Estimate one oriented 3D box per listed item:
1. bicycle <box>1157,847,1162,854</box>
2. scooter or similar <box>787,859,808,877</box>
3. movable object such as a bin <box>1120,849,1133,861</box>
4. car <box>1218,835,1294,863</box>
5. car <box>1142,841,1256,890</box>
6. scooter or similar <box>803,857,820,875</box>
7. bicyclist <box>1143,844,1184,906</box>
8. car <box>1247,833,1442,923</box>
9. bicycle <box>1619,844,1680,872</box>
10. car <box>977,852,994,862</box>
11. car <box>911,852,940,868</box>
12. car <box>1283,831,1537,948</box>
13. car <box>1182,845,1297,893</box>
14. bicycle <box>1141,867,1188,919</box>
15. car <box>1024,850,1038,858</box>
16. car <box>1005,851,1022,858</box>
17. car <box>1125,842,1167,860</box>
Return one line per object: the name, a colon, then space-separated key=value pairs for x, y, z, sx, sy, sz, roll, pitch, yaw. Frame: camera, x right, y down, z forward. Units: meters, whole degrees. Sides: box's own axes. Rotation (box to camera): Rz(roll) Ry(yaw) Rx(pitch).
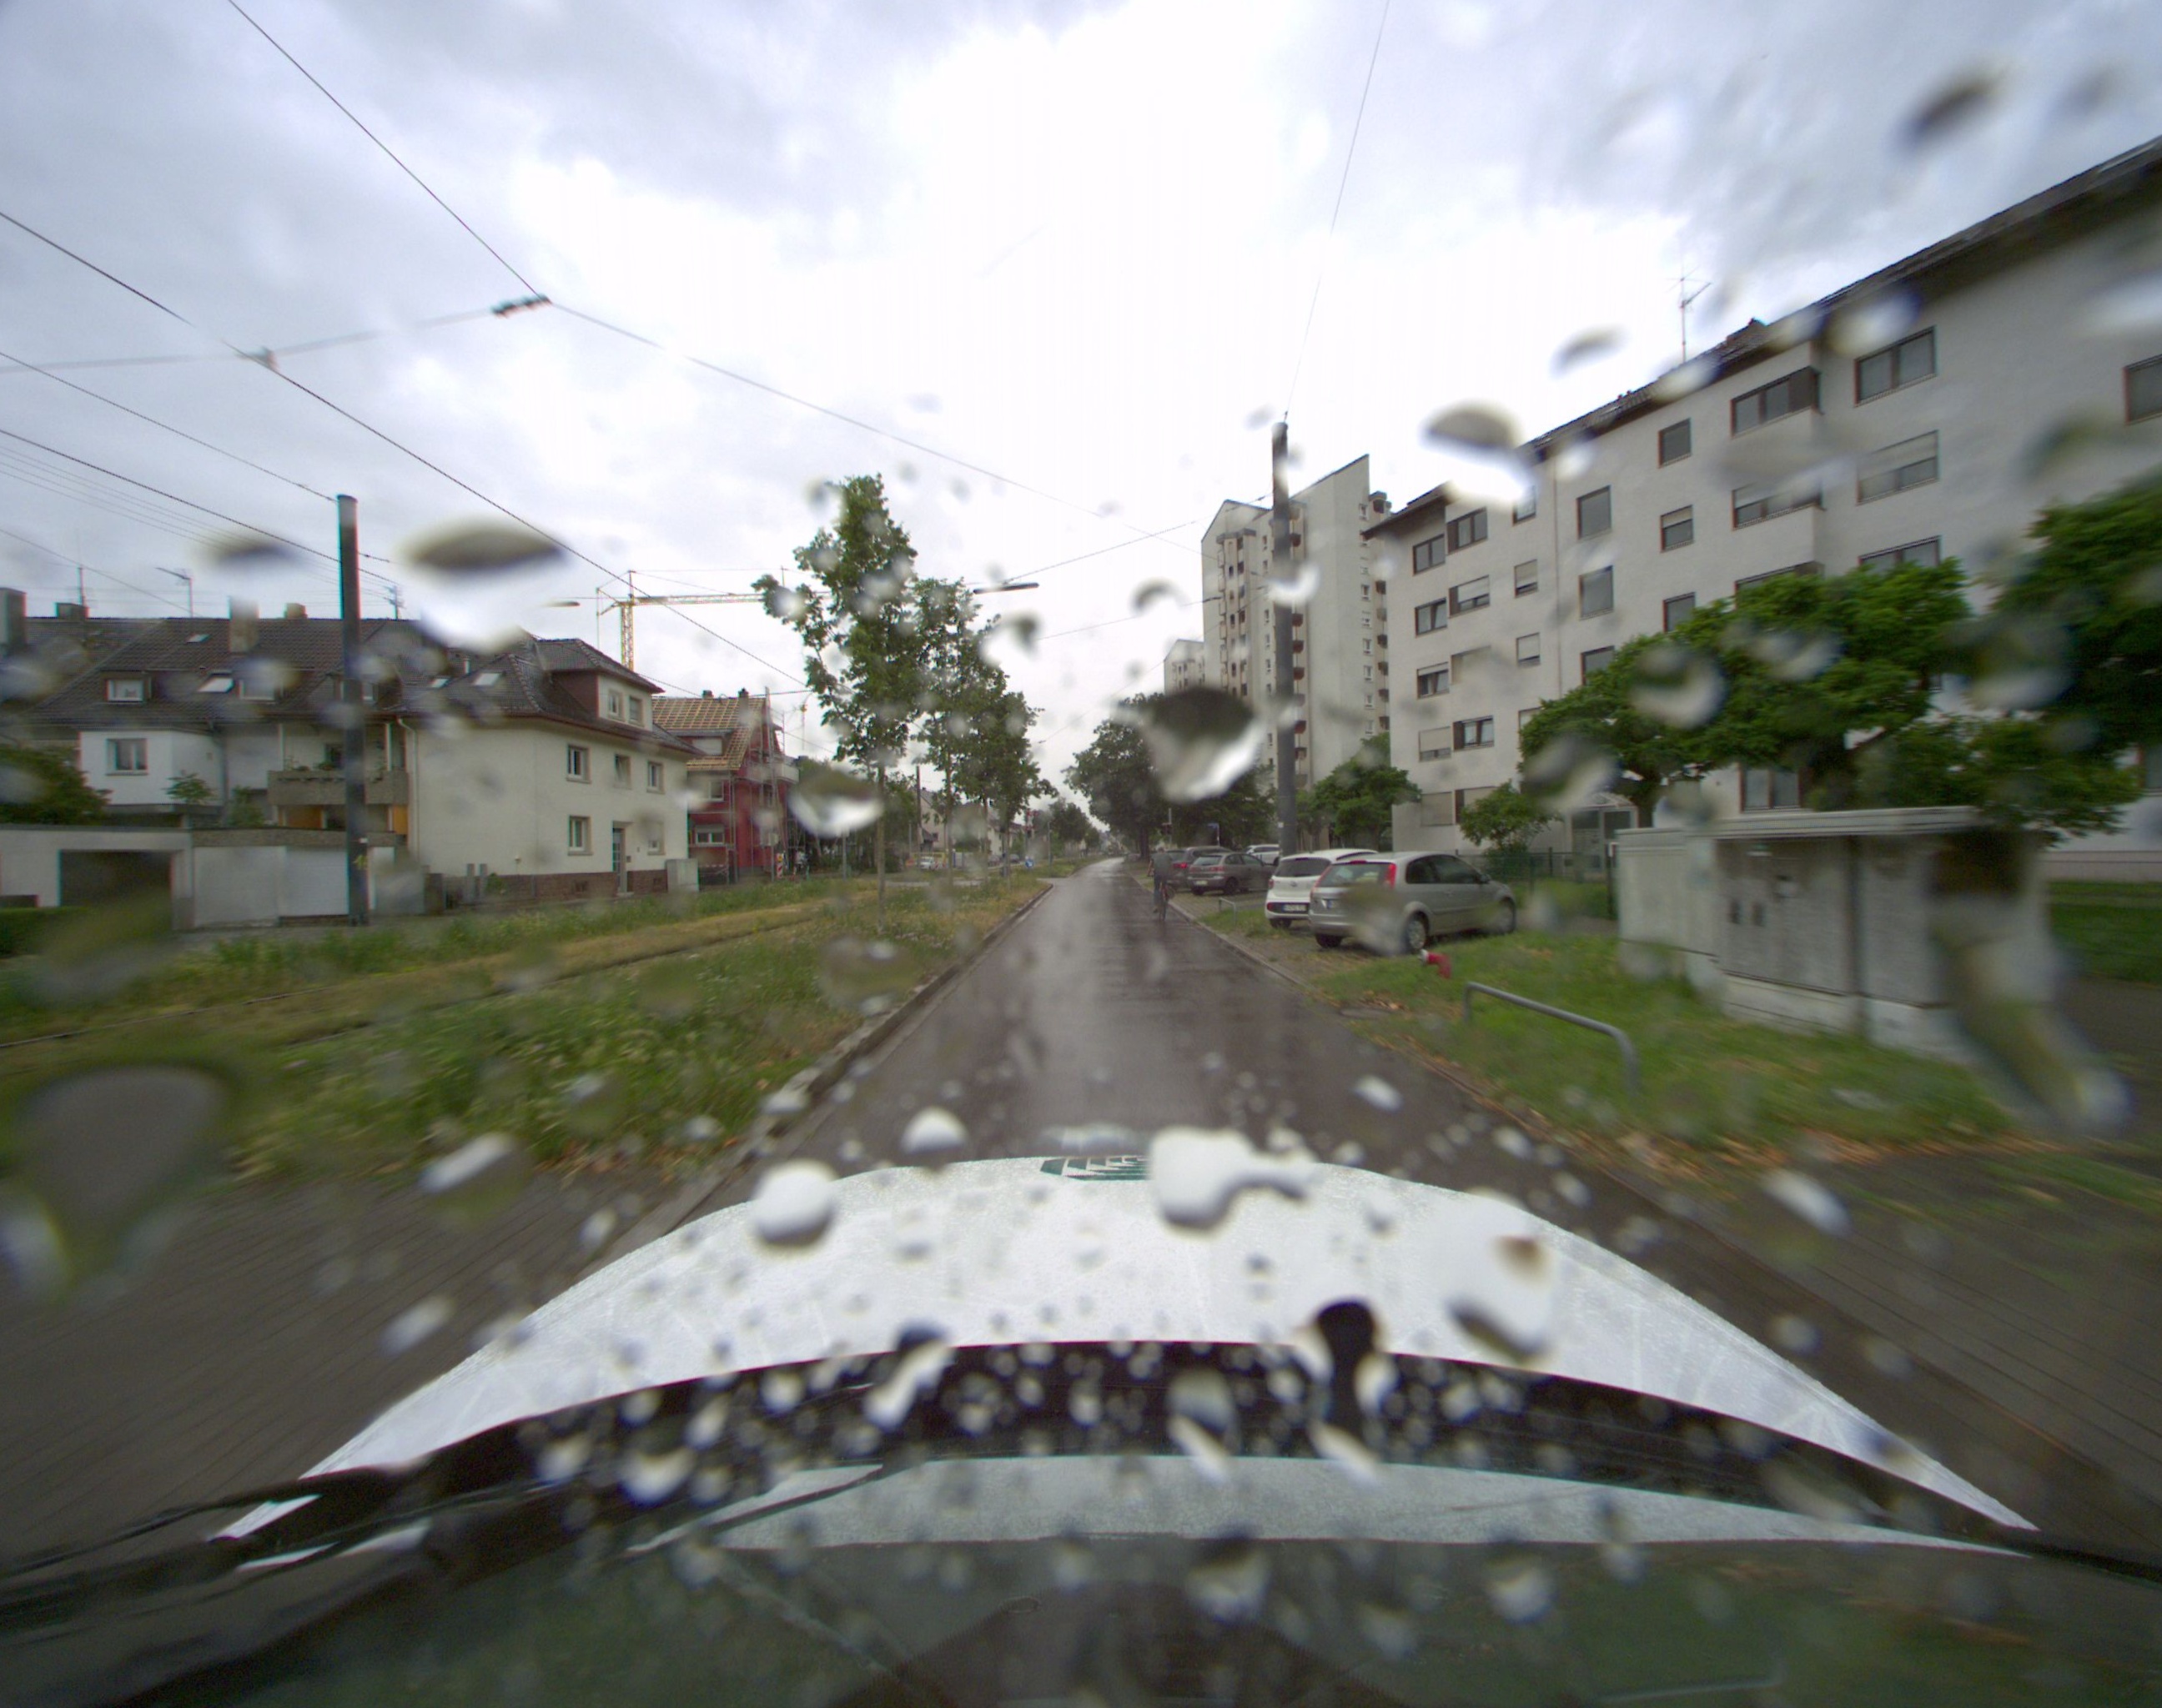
bicycle: x=12.761 y=-0.629 z=132.741 sx=0.732 sy=1.056 sz=2.052 roll=-2 pitch=0 yaw=2
scooter or similar: x=-18.172 y=0.903 z=52.203 sx=0.436 sy=1.129 sz=1.291 roll=-2 pitch=0 yaw=32
movable object such as a bin: x=5.785 y=0.134 z=103.995 sx=1.129 sy=1.457 sz=1.392 roll=-7 pitch=2 yaw=-18
car: x=12.227 y=-0.359 z=57.048 sx=4.809 sy=1.745 sz=1.991 roll=-2 pitch=0 yaw=-14
car: x=4.576 y=0.386 z=31.255 sx=4.372 sy=1.651 sz=1.836 roll=-3 pitch=1 yaw=-40
scooter or similar: x=-18.294 y=0.837 z=55.308 sx=0.390 sy=1.180 sz=1.288 roll=-2 pitch=0 yaw=17
bicyclist: x=1.970 y=0.482 z=19.599 sx=0.807 sy=1.432 sz=1.059 roll=-2 pitch=0 yaw=-1
car: x=5.320 y=0.425 z=16.240 sx=4.020 sy=1.508 sz=1.686 roll=-3 pitch=-1 yaw=-38
bicycle: x=18.098 y=0.136 z=25.967 sx=0.492 sy=0.847 sz=1.559 roll=-2 pitch=0 yaw=-24
car: x=-12.907 y=0.432 z=110.516 sx=1.656 sy=1.244 sz=4.075 roll=1 pitch=1 yaw=3
car: x=-15.454 y=0.587 z=81.129 sx=1.703 sy=1.542 sz=4.427 roll=1 pitch=1 yaw=4
car: x=5.284 y=0.486 z=12.911 sx=4.017 sy=1.508 sz=1.765 roll=-3 pitch=-1 yaw=-35
car: x=5.502 y=0.478 z=28.101 sx=4.021 sy=1.428 sz=1.714 roll=-3 pitch=1 yaw=-40
bicycle: x=1.976 y=0.901 z=19.665 sx=0.807 sy=1.096 sz=2.516 roll=-2 pitch=0 yaw=-1
car: x=-9.714 y=0.017 z=158.684 sx=1.887 sy=1.469 sz=4.695 roll=1 pitch=1 yaw=6
car: x=-11.282 y=0.073 z=136.428 sx=1.887 sy=1.244 sz=4.695 roll=1 pitch=1 yaw=6
car: x=7.147 y=-0.317 z=89.874 sx=4.161 sy=1.719 sz=1.981 roll=-5 pitch=2 yaw=-30
